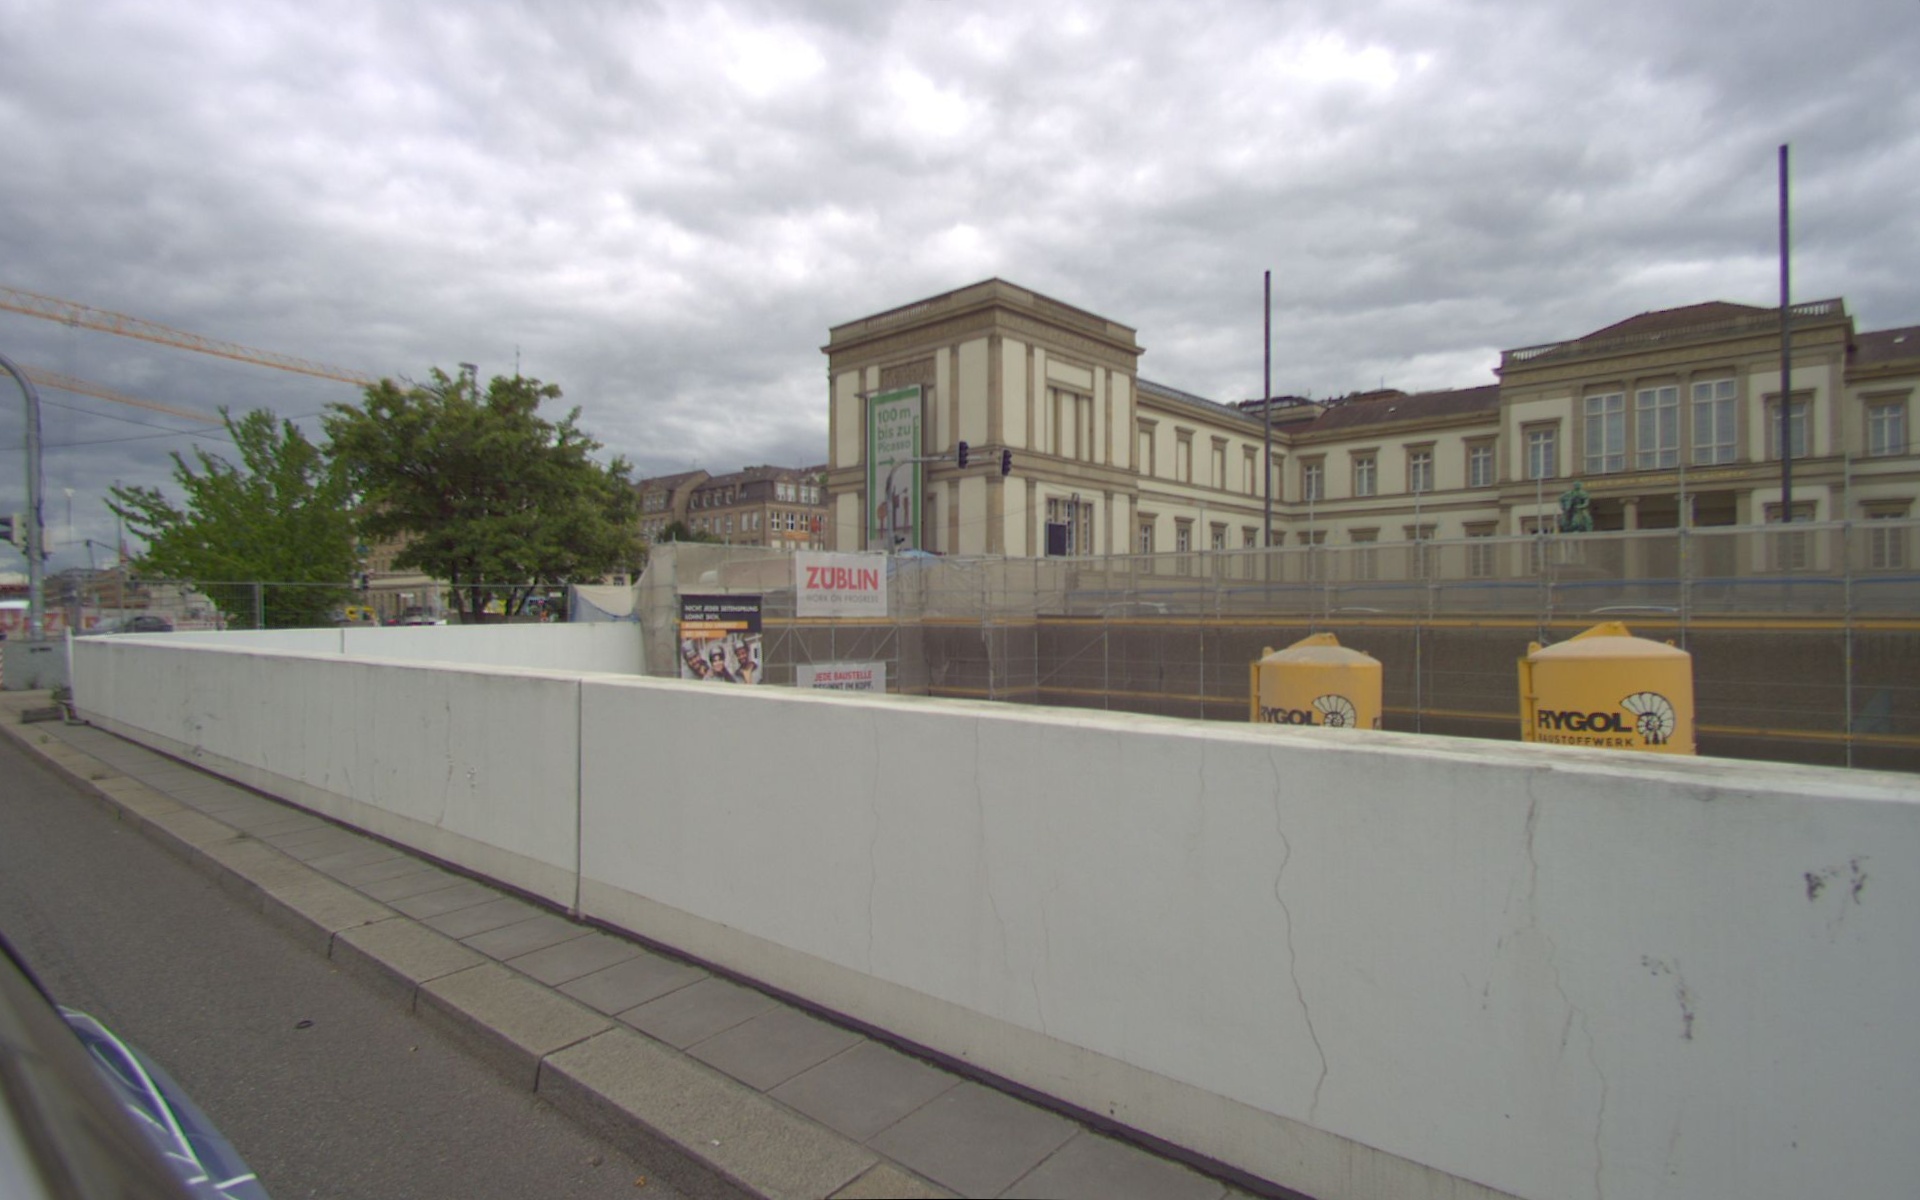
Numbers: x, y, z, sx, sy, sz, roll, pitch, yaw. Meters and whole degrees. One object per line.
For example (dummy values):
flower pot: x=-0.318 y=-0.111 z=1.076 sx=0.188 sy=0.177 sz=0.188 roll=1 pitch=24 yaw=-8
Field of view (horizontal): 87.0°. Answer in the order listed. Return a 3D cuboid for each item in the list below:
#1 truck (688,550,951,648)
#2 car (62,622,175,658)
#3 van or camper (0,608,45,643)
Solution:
truck: x=-7.423 y=0.188 z=49.111 sx=16.615 sy=4.114 sz=2.885 roll=-2 pitch=-3 yaw=43
car: x=-37.380 y=1.744 z=45.078 sx=1.848 sy=1.431 sz=4.109 roll=-1 pitch=0 yaw=-5
van or camper: x=-64.442 y=1.733 z=69.098 sx=1.965 sy=2.244 sz=4.013 roll=0 pitch=0 yaw=-28
